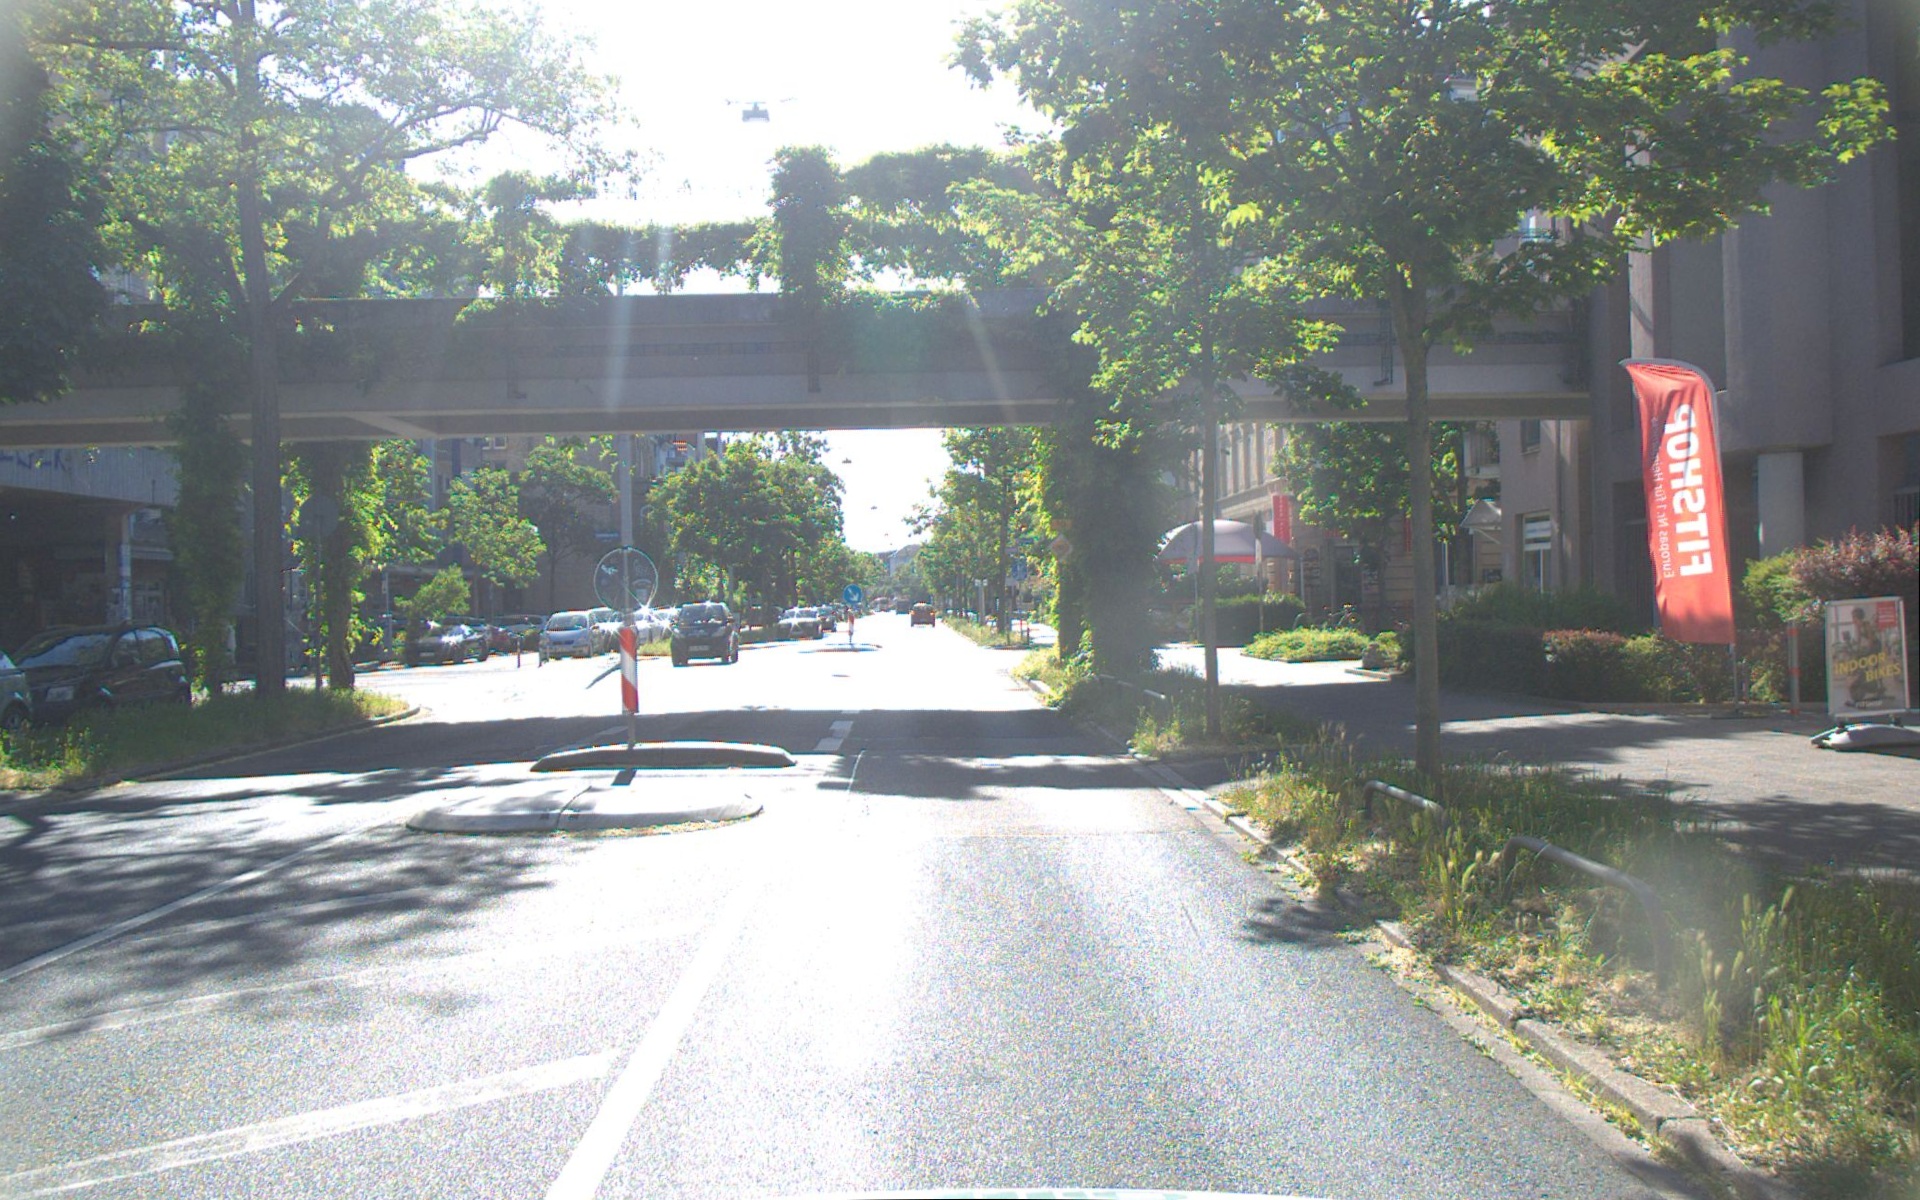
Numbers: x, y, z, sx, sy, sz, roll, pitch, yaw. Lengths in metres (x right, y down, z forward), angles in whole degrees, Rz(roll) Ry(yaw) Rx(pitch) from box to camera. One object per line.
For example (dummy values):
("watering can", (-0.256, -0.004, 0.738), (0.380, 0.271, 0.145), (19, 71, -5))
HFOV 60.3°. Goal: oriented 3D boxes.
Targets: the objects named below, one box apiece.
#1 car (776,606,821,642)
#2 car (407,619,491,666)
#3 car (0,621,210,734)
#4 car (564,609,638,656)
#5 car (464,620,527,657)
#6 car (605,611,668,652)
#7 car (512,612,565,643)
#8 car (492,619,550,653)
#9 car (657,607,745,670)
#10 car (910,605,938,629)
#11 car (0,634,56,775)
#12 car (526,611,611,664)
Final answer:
("car", (-7.375, 1.085, 75.921), (1.818, 1.549, 4.316), (0, 0, -3))
("car", (-18.198, 1.476, 59.079), (1.818, 1.549, 4.316), (0, 0, -3))
("car", (-11.473, 0.963, 21.870), (1.600, 1.330, 3.580), (0, 0, -3))
("car", (-12.488, 1.095, 57.820), (1.818, 1.549, 4.316), (0, 0, -3))
("car", (-21.096, 1.726, 75.231), (1.818, 1.549, 4.316), (0, 0, -3))
("car", (-12.805, 1.216, 65.754), (1.818, 1.549, 4.316), (0, 0, -3))
("car", (-21.814, 1.396, 85.748), (1.818, 1.549, 4.316), (0, 0, -3))
("car", (-21.307, 1.740, 80.473), (1.818, 1.549, 4.316), (0, 0, -3))
("car", (-6.742, 0.977, 43.474), (1.818, 1.549, 4.316), (0, 0, -3))
("car", (-2.429, 1.126, 112.058), (1.818, 1.549, 4.318), (0, 0, 0))
("car", (-11.648, 1.189, 17.609), (1.818, 1.549, 4.316), (0, 0, -3))
("car", (-12.110, 1.139, 51.403), (1.818, 1.549, 4.075), (0, 0, -3))
